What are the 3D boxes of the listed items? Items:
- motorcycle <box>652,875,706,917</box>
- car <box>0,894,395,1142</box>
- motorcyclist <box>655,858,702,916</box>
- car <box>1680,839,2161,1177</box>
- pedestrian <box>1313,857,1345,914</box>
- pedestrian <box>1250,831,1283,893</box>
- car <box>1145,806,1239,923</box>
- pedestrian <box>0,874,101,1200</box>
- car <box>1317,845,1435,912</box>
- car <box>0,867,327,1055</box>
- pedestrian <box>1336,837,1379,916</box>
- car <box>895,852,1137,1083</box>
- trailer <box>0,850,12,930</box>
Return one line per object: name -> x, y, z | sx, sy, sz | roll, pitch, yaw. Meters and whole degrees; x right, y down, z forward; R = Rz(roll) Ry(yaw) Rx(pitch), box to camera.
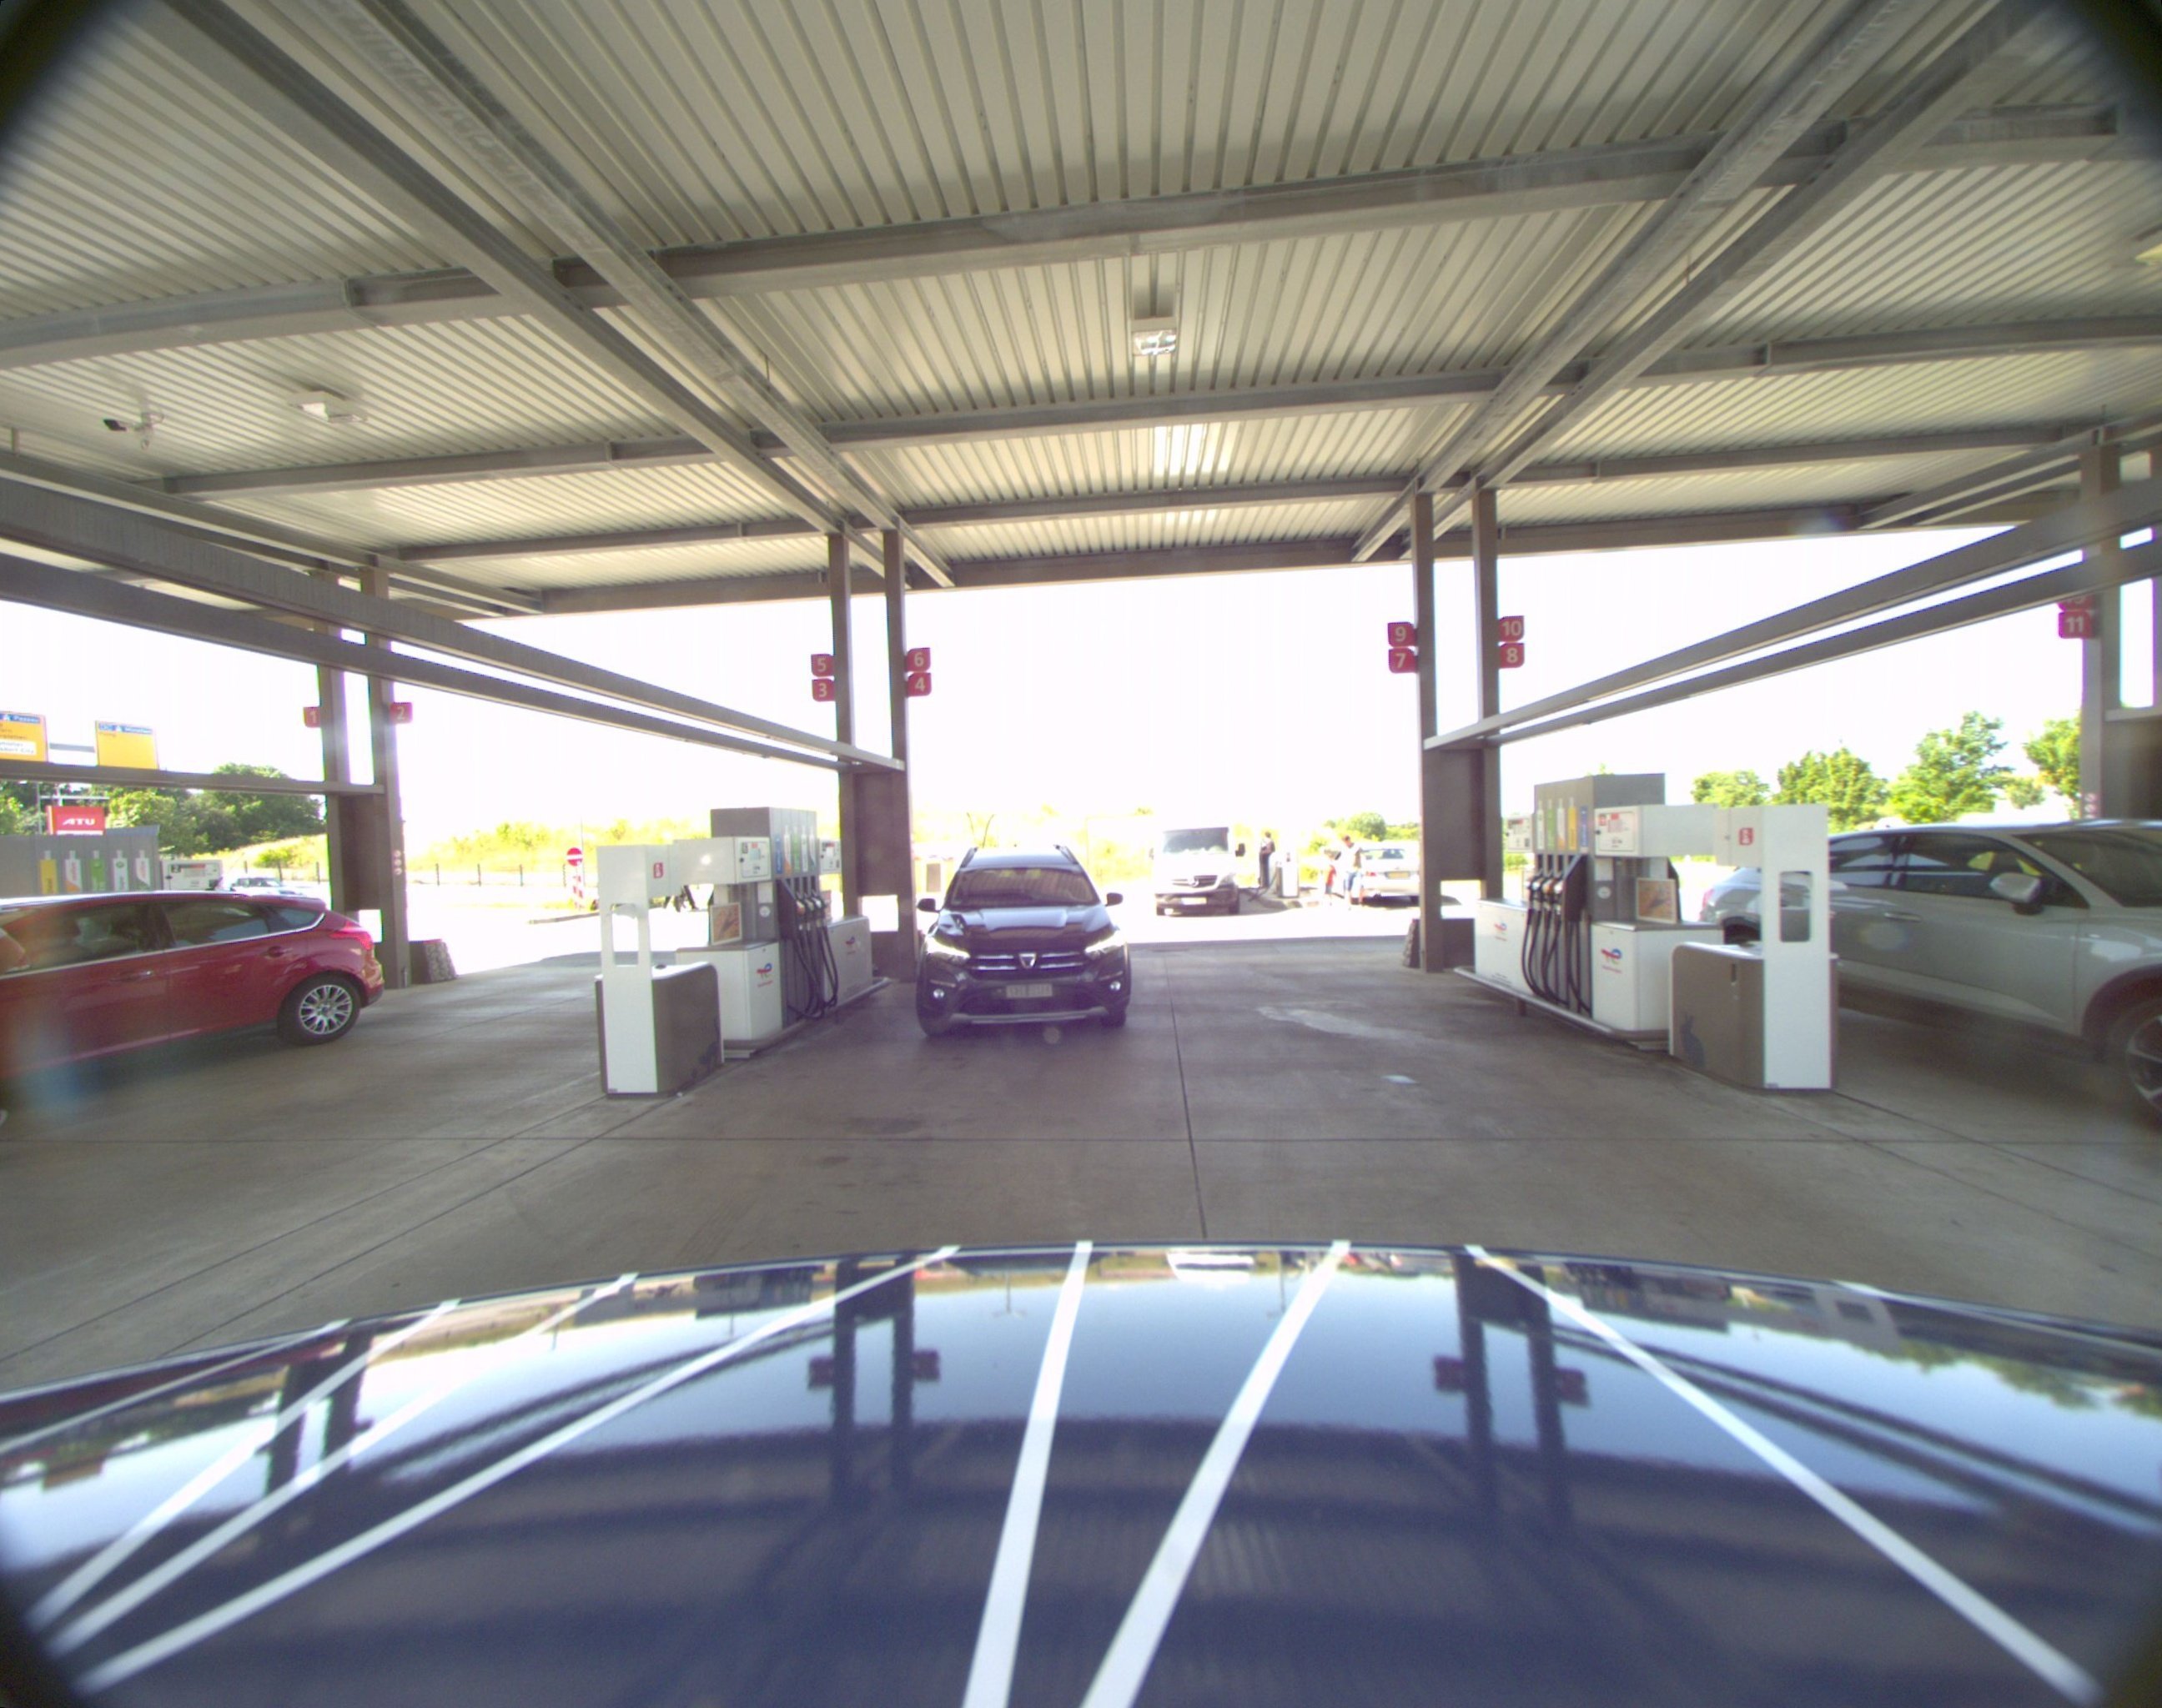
motorcycle -> -12.221, 1.243, 23.185 | 1.046, 1.099, 2.411 | -2, 1, -19
car -> -7.864, 1.163, 5.485 | 1.702, 1.460, 4.234 | -1, 0, 5
motorcyclist -> -12.216, 0.963, 23.095 | 1.035, 1.678, 1.097 | -2, 1, -19
car -> 5.993, 0.697, 4.499 | 1.784, 1.532, 4.327 | -2, 1, 6
pedestrian -> 5.826, 0.720, 17.848 | 0.577, 1.299, 0.669 | -1, 1, 8
pedestrian -> 5.466, 0.235, 22.407 | 0.844, 1.759, 0.710 | -1, 1, 9
car -> 3.147, 0.073, 20.215 | 1.997, 2.557, 7.034 | -1, 3, 12
pedestrian -> -6.016, 0.971, 3.901 | 0.703, 1.693, 0.927 | -2, 1, -9
car -> 7.458, 0.549, 19.644 | 1.791, 1.420, 4.323 | -1, 2, 6
car -> -12.093, 1.104, 9.107 | 2.035, 1.840, 4.793 | -1, 0, -12
pedestrian -> 6.217, 0.494, 17.117 | 0.708, 1.739, 0.845 | -1, 1, 8
car -> -0.620, 0.831, 7.945 | 1.743, 1.635, 4.630 | -2, 0, -4
trailer -> -32.599, 1.103, 21.045 | 2.003, 2.413, 3.990 | -2, 1, -32
